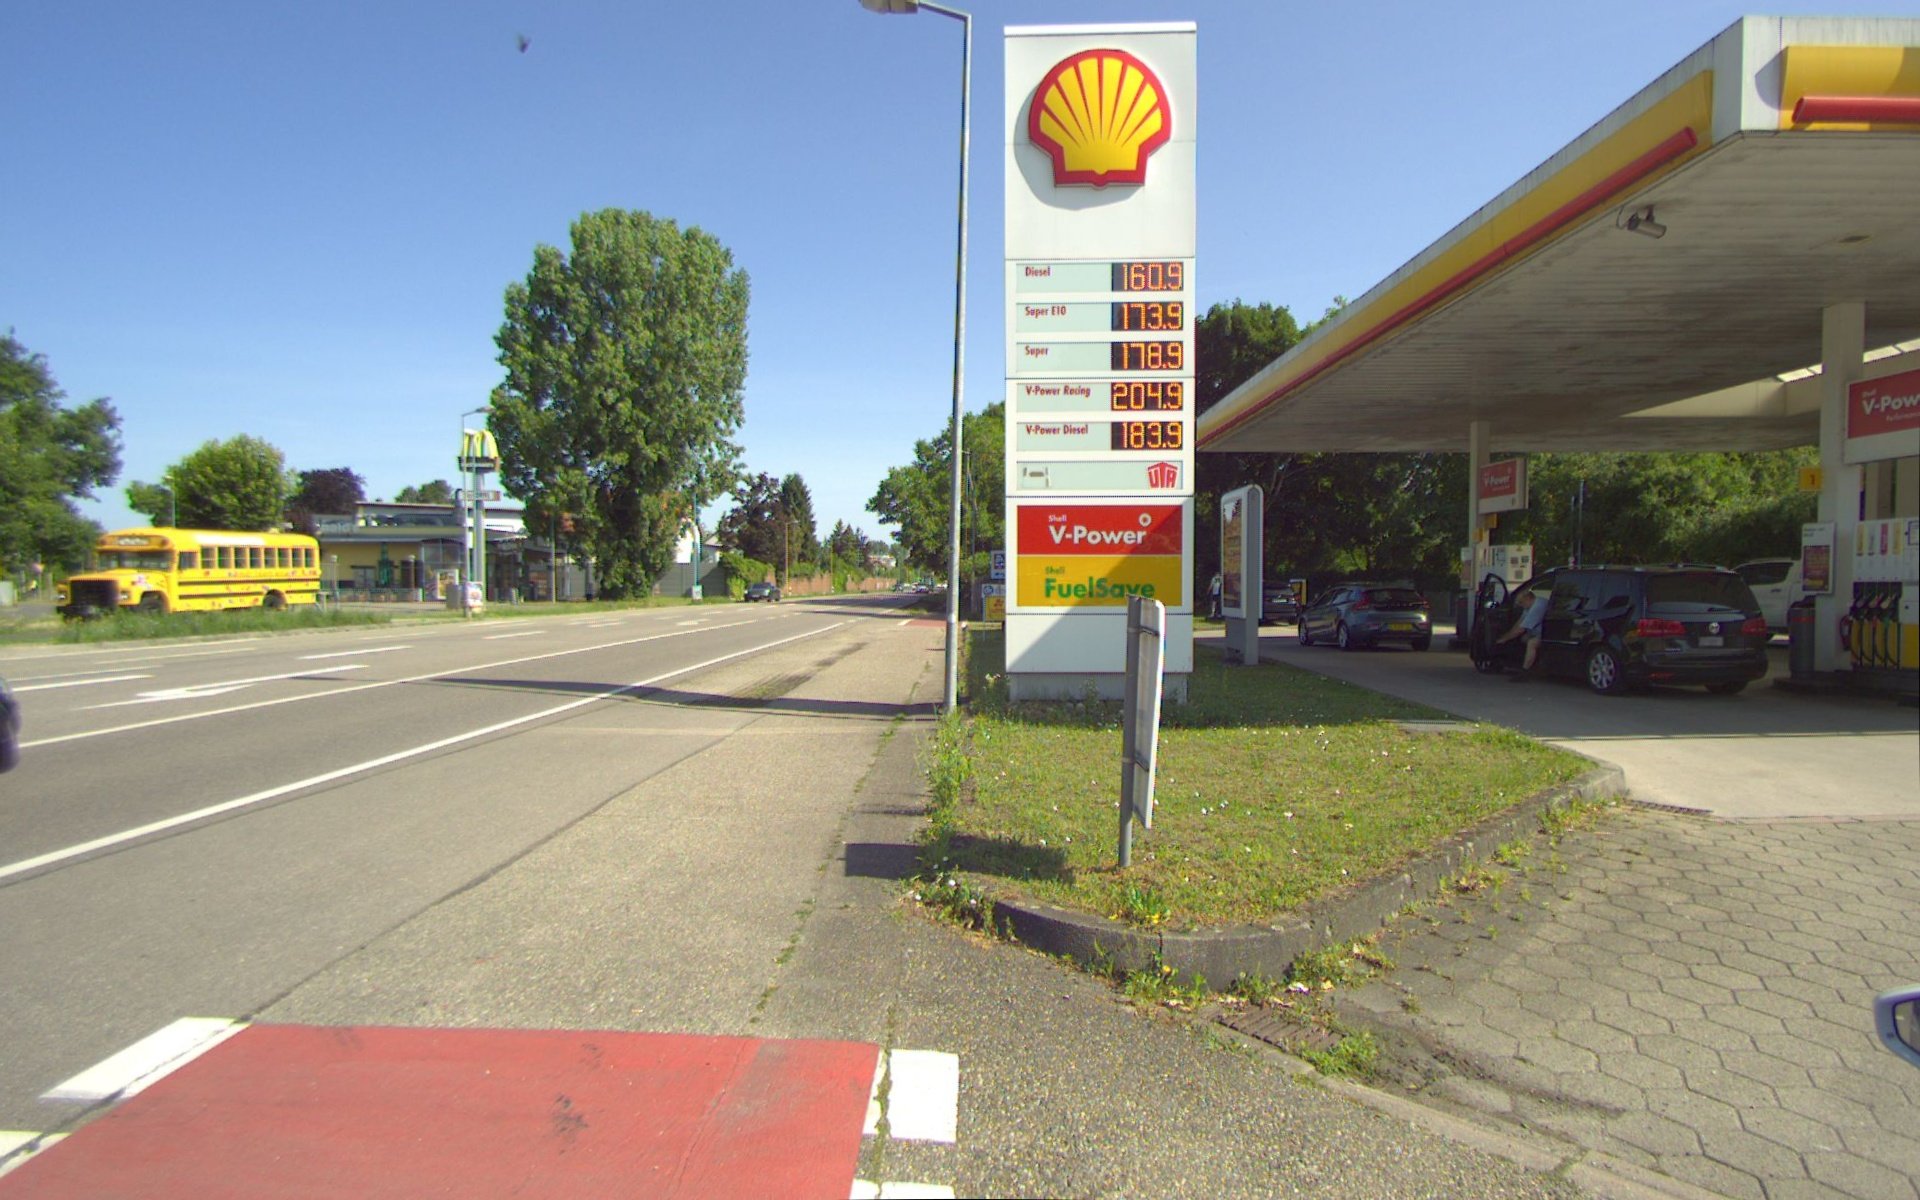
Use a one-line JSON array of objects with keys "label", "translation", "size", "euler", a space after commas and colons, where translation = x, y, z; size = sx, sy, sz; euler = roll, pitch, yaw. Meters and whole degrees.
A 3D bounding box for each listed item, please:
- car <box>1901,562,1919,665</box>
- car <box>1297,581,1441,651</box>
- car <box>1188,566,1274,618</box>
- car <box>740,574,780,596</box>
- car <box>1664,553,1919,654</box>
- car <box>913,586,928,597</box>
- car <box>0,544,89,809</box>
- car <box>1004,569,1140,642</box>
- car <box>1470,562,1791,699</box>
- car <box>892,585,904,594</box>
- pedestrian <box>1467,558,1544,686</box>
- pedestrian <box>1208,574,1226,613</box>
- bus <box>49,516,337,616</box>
[{"label": "car", "translation": [17.105, 0.238, 15.383], "size": [1.796, 1.751, 4.001], "euler": [0, 0, 4]}, {"label": "car", "translation": [8.769, 0.280, 21.884], "size": [1.767, 1.379, 3.849], "euler": [0, 1, 3]}, {"label": "car", "translation": [10.045, -0.309, 37.525], "size": [1.961, 1.789, 3.999], "euler": [2, 1, -2]}, {"label": "car", "translation": [-14.543, -1.108, 73.333], "size": [1.816, 1.516, 4.911], "euler": [-1, 1, 1]}, {"label": "car", "translation": [17.235, 0.021, 20.859], "size": [1.821, 1.862, 4.779], "euler": [0, 1, -1]}, {"label": "car", "translation": [-5.646, -1.233, 144.825], "size": [1.816, 1.561, 4.224], "euler": [2, 1, 1]}, {"label": "car", "translation": [-6.078, 0.421, 4.011], "size": [1.619, 1.450, 4.054], "euler": [2, 1, 1]}, {"label": "car", "translation": [2.541, 0.114, 22.959], "size": [1.568, 1.550, 2.694], "euler": [2, 0, -45]}, {"label": "car", "translation": [8.821, 0.324, 13.674], "size": [1.730, 1.600, 3.877], "euler": [0, 1, -1]}, {"label": "car", "translation": [-11.239, -1.936, 183.532], "size": [1.816, 1.561, 4.224], "euler": [2, 1, 1]}, {"label": "pedestrian", "translation": [7.705, 0.296, 14.220], "size": [0.660, 1.752, 0.812], "euler": [0, 1, 6]}, {"label": "pedestrian", "translation": [10.325, -0.283, 40.352], "size": [0.664, 1.558, 0.394], "euler": [0, 1, 5]}, {"label": "bus", "translation": [-24.146, -0.994, 32.476], "size": [2.537, 2.715, 8.994], "euler": [2, 1, -1]}]
